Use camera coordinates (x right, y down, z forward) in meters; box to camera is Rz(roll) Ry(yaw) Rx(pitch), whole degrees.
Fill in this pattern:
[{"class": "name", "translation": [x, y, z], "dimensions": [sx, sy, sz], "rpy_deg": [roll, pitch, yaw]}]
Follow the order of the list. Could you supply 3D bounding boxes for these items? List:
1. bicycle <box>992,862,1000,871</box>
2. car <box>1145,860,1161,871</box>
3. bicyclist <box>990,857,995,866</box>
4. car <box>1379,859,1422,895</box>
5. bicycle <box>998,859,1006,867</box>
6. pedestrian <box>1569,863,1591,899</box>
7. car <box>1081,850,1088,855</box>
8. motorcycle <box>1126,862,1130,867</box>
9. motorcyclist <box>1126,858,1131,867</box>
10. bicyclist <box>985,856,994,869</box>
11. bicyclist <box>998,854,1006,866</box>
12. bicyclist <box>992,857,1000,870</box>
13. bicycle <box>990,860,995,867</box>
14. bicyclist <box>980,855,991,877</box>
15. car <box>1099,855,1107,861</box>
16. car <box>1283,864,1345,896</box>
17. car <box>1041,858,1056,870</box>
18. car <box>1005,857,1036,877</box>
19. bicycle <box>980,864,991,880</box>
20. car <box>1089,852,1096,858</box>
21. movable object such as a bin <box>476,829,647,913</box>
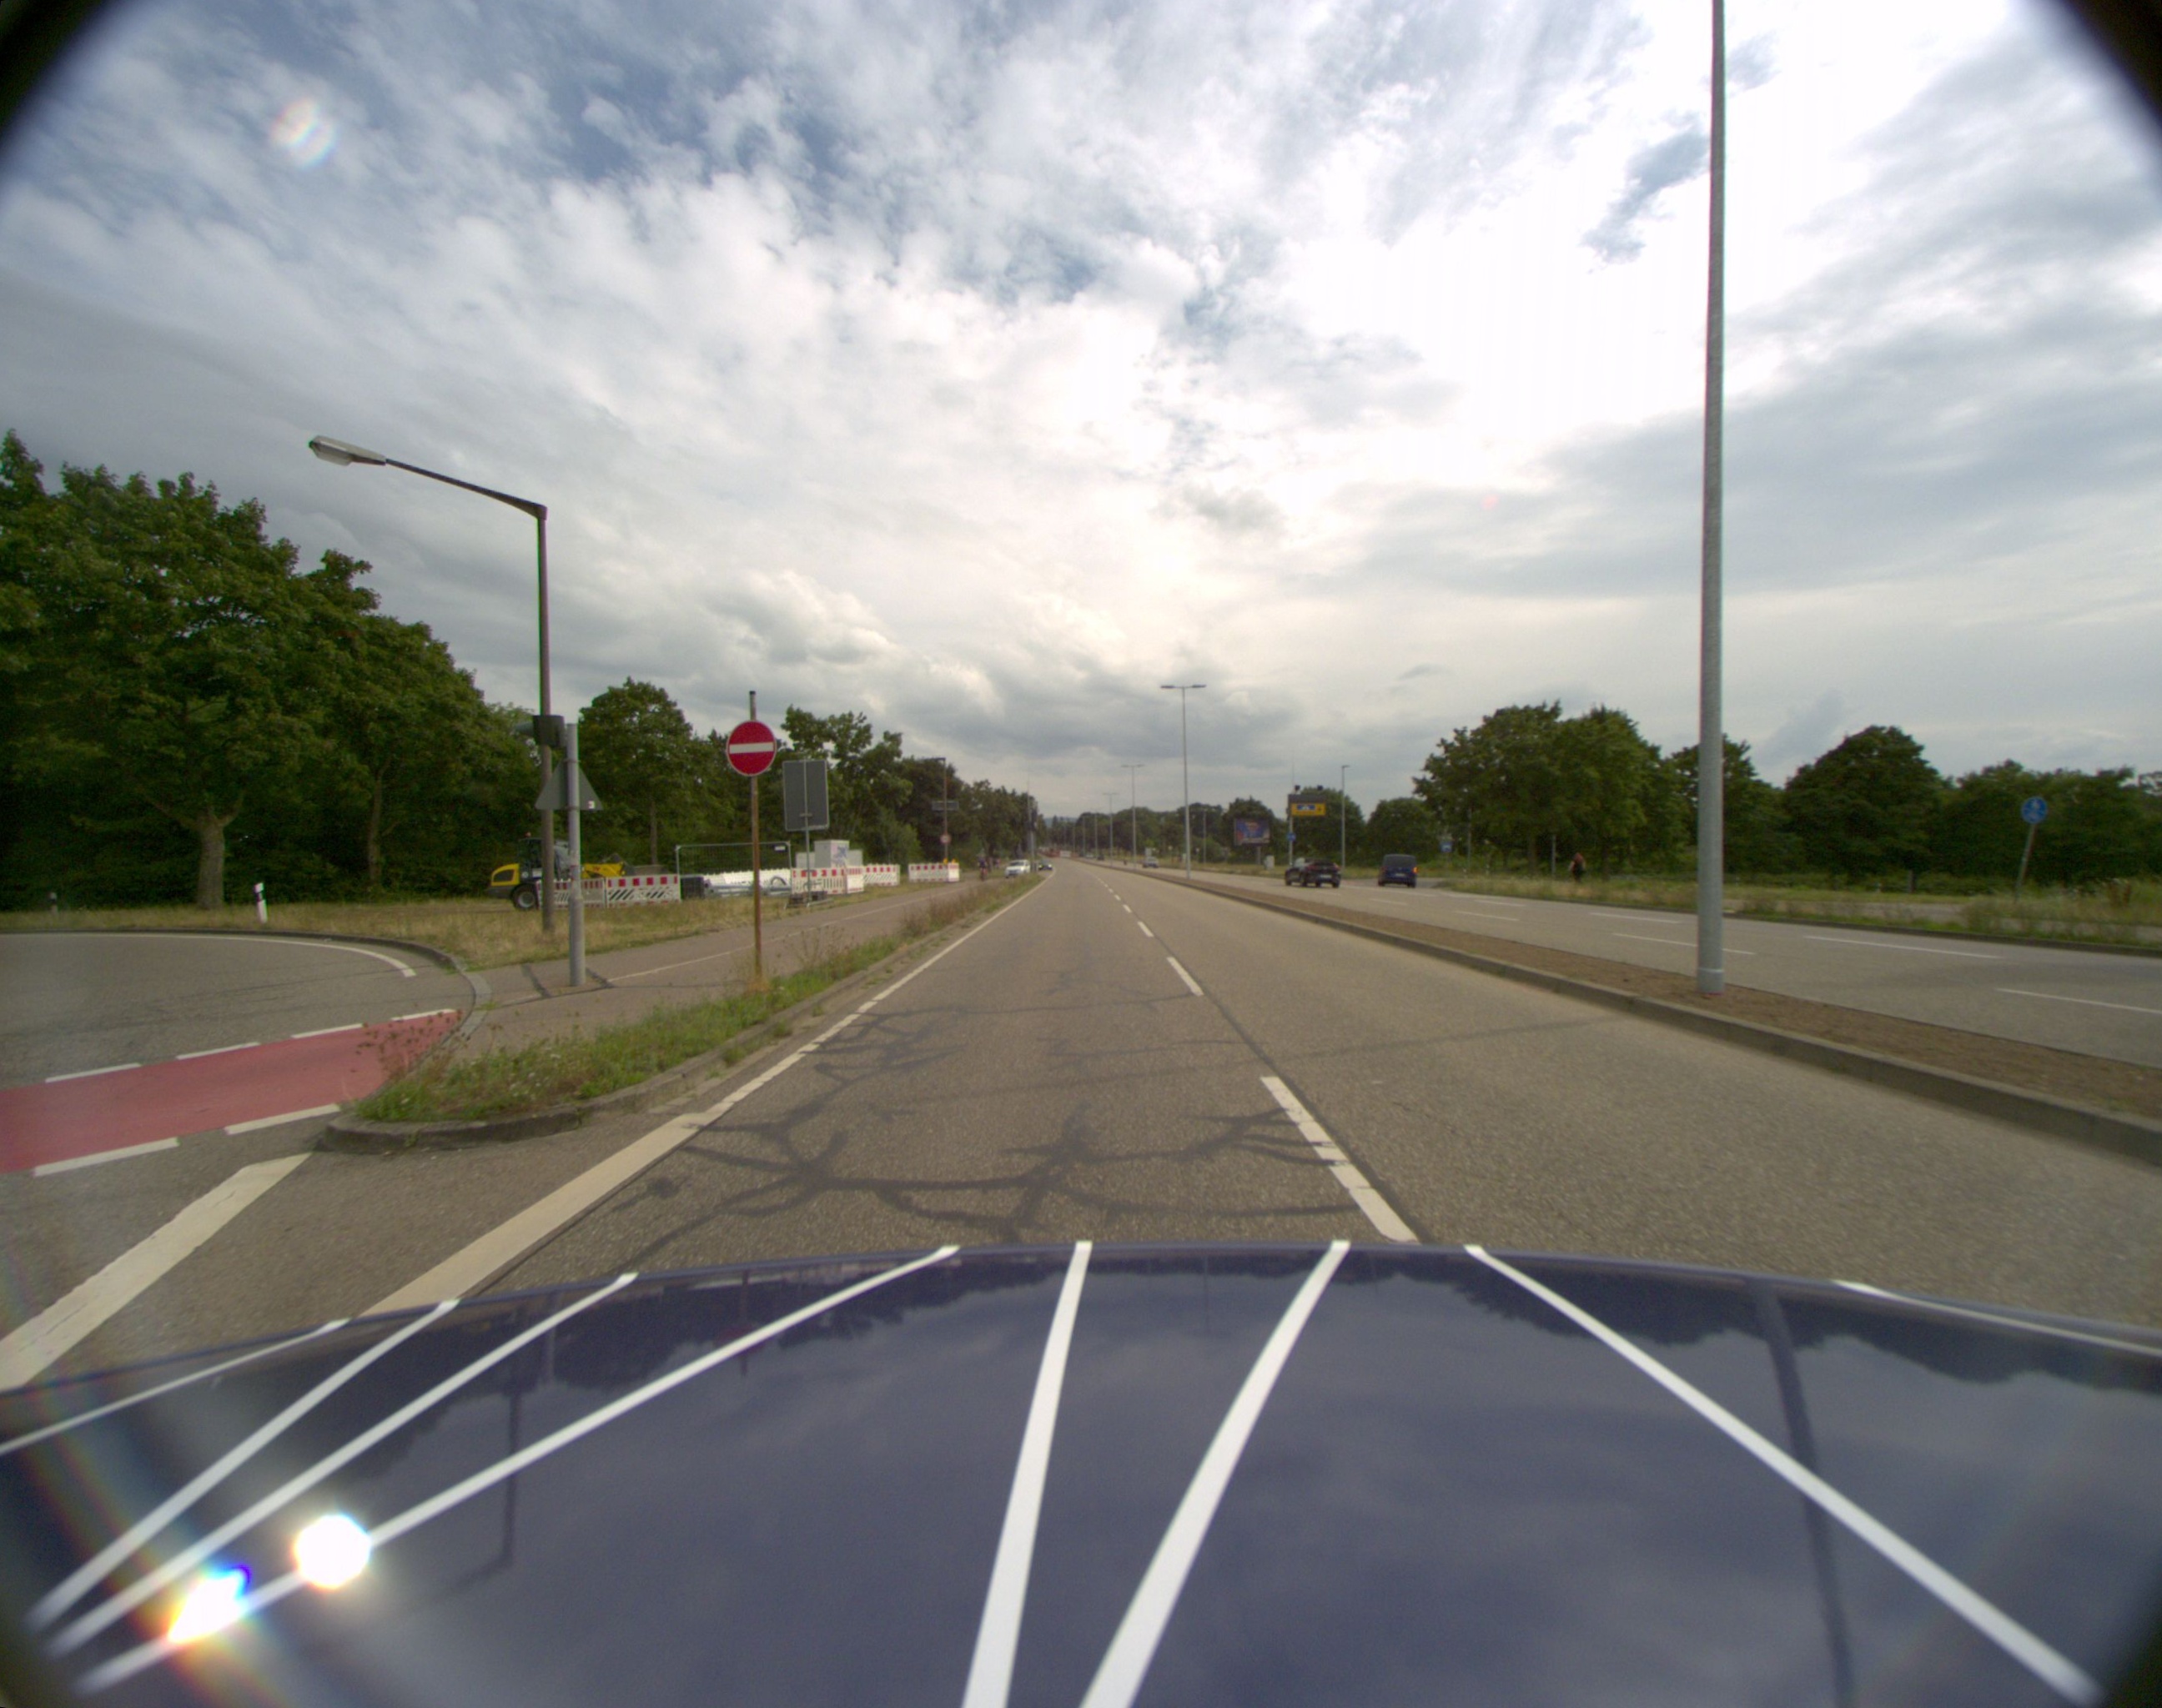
[{"class": "bicycle", "translation": [-10.126, 1.518, 90.913], "dimensions": [0.596, 1.030, 2.195], "rpy_deg": [-1, 0, 2]}, {"class": "car", "translation": [10.478, 1.646, 110.321], "dimensions": [1.852, 1.592, 4.560], "rpy_deg": [0, 0, -1]}, {"class": "bicyclist", "translation": [-13.076, 1.121, 112.280], "dimensions": [0.540, 1.275, 0.449], "rpy_deg": [-2, 1, -3]}, {"class": "car", "translation": [18.711, 1.297, 44.710], "dimensions": [1.849, 1.882, 5.513], "rpy_deg": [2, 0, 19]}, {"class": "bicycle", "translation": [-9.768, 1.123, 94.441], "dimensions": [0.621, 1.000, 1.788], "rpy_deg": [1, 0, 6]}, {"class": "pedestrian", "translation": [23.692, 1.263, 36.103], "dimensions": [0.865, 1.683, 0.680], "rpy_deg": [1, 0, 33]}, {"class": "car", "translation": [1.126, -0.418, 249.102], "dimensions": [1.852, 1.644, 4.563], "rpy_deg": [0, 0, -3]}, {"class": "motorcycle", "translation": [9.030, 2.042, 145.532], "dimensions": [0.524, 0.961, 2.219], "rpy_deg": [0, 0, -2]}, {"class": "motorcyclist", "translation": [9.054, 1.635, 145.538], "dimensions": [0.772, 1.579, 0.896], "rpy_deg": [1, 0, -2]}, {"class": "bicyclist", "translation": [-10.416, 0.954, 86.104], "dimensions": [0.742, 1.509, 0.958], "rpy_deg": [-2, 1, 6]}, {"class": "bicyclist", "translation": [-9.826, 0.786, 94.206], "dimensions": [0.742, 1.465, 0.806], "rpy_deg": [-2, 1, 6]}, {"class": "bicyclist", "translation": [-10.159, 1.086, 90.835], "dimensions": [0.743, 1.509, 0.958], "rpy_deg": [-2, 1, 2]}, {"class": "bicycle", "translation": [-13.076, 1.380, 112.322], "dimensions": [0.515, 0.958, 1.782], "rpy_deg": [0, 0, -3]}, {"class": "bicyclist", "translation": [-7.090, 0.887, 56.473], "dimensions": [0.653, 1.648, 0.876], "rpy_deg": [-2, 1, -1]}, {"class": "car", "translation": [5.951, 0.966, 201.969], "dimensions": [1.773, 1.523, 4.739], "rpy_deg": [0, 0, -3]}, {"class": "car", "translation": [11.434, 1.234, 37.566], "dimensions": [1.768, 1.432, 4.177], "rpy_deg": [1, 0, 0]}, {"class": "car", "translation": [-4.325, 1.312, 100.327], "dimensions": [1.773, 1.439, 4.322], "rpy_deg": [-1, 0, -4]}, {"class": "car", "translation": [-5.246, 1.096, 66.488], "dimensions": [1.851, 1.493, 4.002], "rpy_deg": [-3, 0, 8]}, {"class": "bicycle", "translation": [-7.085, 1.305, 56.372], "dimensions": [0.575, 1.141, 1.982], "rpy_deg": [0, 0, -1]}, {"class": "car", "translation": [3.270, 0.243, 224.754], "dimensions": [1.773, 1.644, 4.637], "rpy_deg": [1, 0, -3]}, {"class": "movable object such as a bin", "translation": [-18.068, 0.557, 26.585], "dimensions": [4.511, 2.674, 2.102], "rpy_deg": [-2, 1, 4]}]
